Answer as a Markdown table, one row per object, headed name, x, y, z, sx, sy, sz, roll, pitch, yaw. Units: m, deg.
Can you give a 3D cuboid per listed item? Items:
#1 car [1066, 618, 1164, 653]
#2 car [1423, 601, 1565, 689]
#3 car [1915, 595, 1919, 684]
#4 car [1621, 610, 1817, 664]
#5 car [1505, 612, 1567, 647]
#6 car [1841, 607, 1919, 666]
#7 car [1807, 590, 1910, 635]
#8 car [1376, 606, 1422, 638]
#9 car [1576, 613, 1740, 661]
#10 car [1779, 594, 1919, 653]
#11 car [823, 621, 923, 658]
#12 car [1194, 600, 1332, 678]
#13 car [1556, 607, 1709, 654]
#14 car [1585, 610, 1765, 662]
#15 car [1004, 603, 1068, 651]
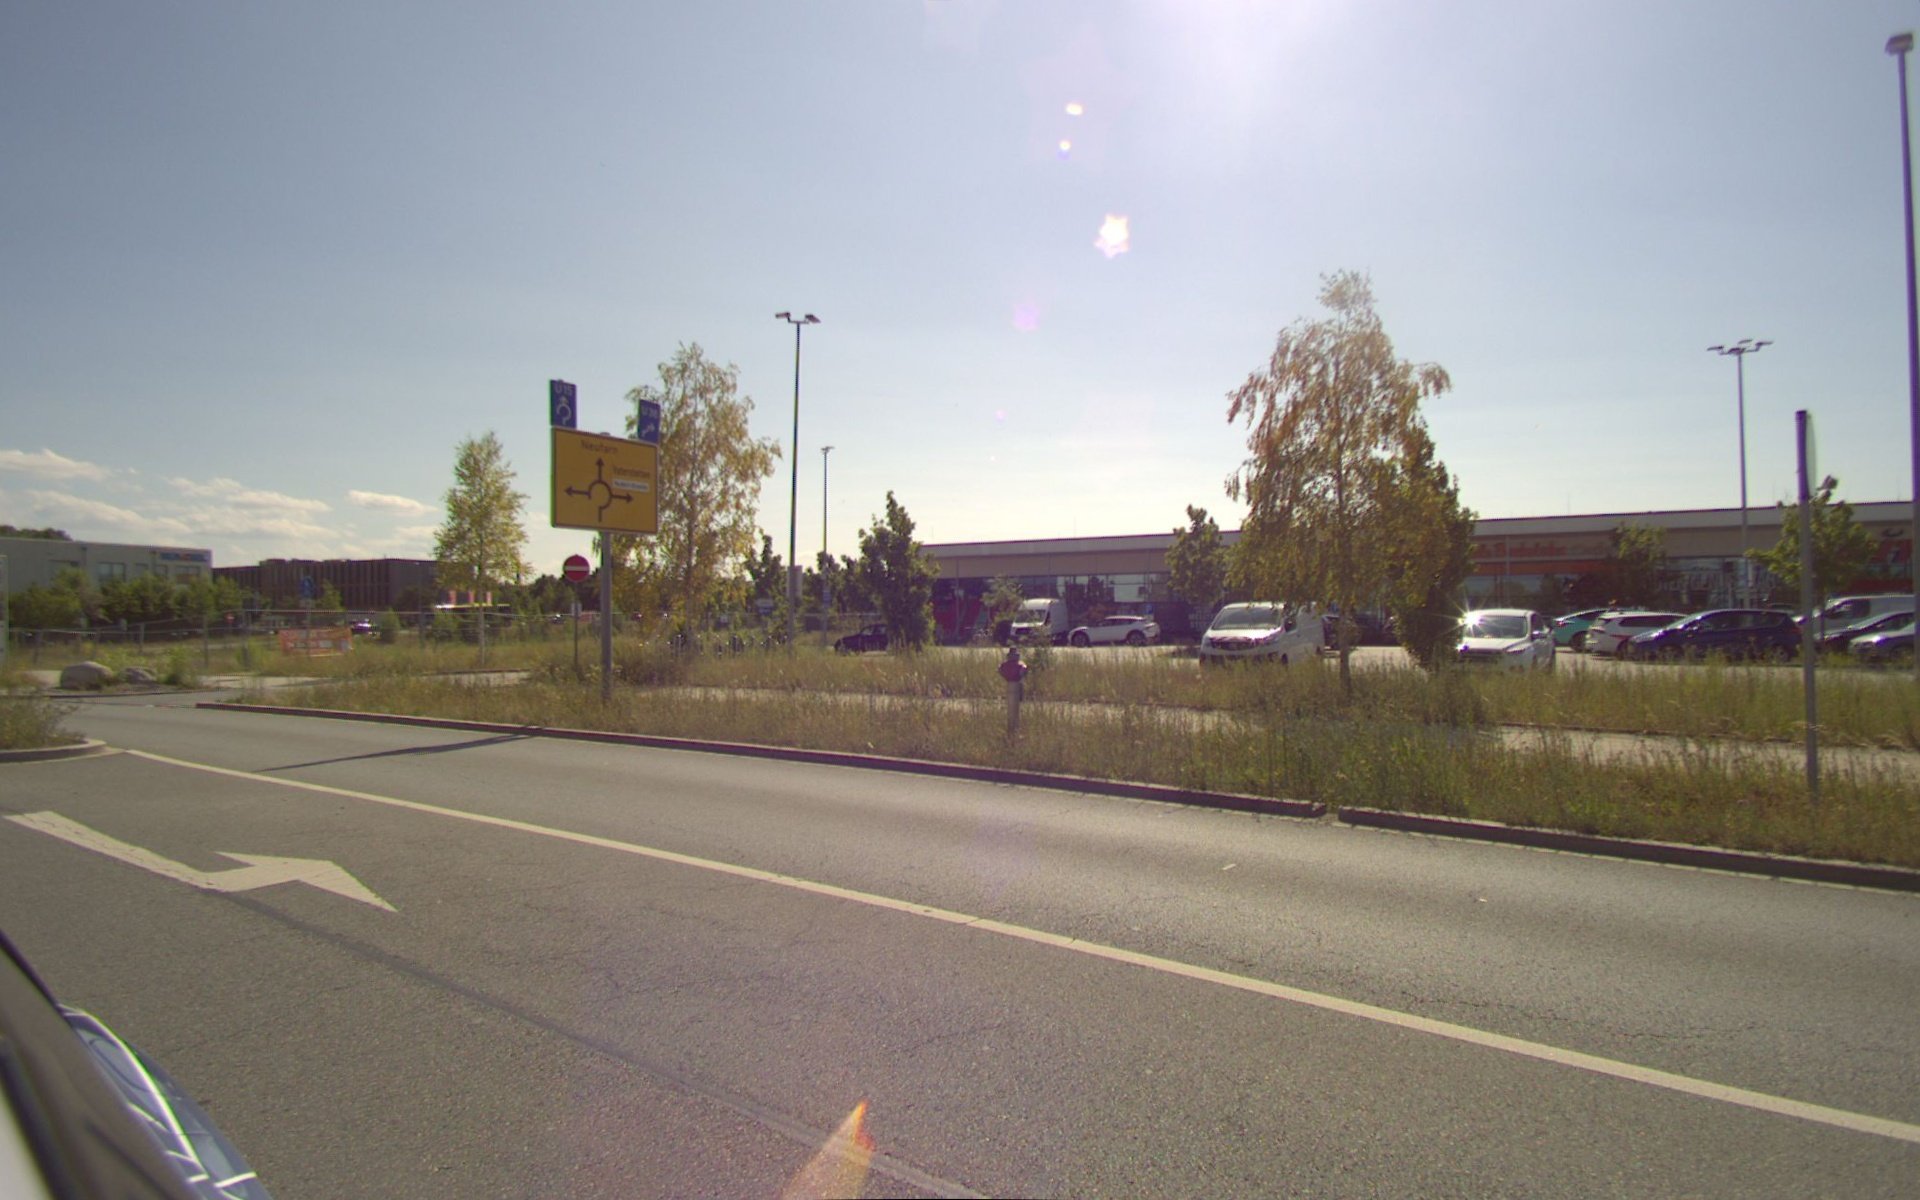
| name | x | y | z | sx | sy | sz | roll | pitch | yaw |
| --- | --- | --- | --- | --- | --- | --- | --- | --- | --- |
| car | 7.815 | 1.784 | 50.999 | 4.550 | 1.701 | 1.959 | -1 | -1 | 26 |
| car | 11.539 | 0.900 | 21.713 | 1.996 | 1.685 | 4.547 | -1 | -1 | 37 |
| car | 17.762 | 0.718 | 17.039 | 1.997 | 1.685 | 4.656 | -1 | -1 | 38 |
| car | 21.267 | 1.025 | 28.579 | 4.117 | 1.436 | 1.703 | -1 | -1 | 25 |
| car | 26.711 | 1.334 | 47.089 | 1.704 | 1.556 | 4.327 | -1 | -1 | 19 |
| car | 26.268 | 0.943 | 26.599 | 4.327 | 1.537 | 1.704 | -1 | -1 | 23 |
| car | 38.301 | 0.530 | 43.287 | 1.704 | 1.821 | 4.327 | -1 | -1 | 19 |
| car | 21.574 | 1.071 | 49.820 | 1.704 | 1.531 | 4.327 | -1 | -1 | 19 |
| car | 23.027 | 1.221 | 33.590 | 4.216 | 1.528 | 1.703 | -1 | -1 | 25 |
| car | 28.578 | 0.727 | 31.448 | 4.561 | 1.754 | 1.701 | -1 | -1 | 28 |
| car | -4.280 | 1.924 | 49.720 | 4.386 | 1.701 | 2.268 | -1 | -1 | 20 |
| car | 7.517 | 0.893 | 24.736 | 1.993 | 1.685 | 5.142 | -1 | -1 | 31 |
| car | 24.124 | 1.095 | 36.498 | 4.330 | 1.599 | 1.703 | -1 | -1 | 25 |
| car | 21.842 | 1.098 | 31.119 | 4.216 | 1.528 | 1.703 | -1 | -1 | 25 |
| car | 4.405 | 1.529 | 57.683 | 1.927 | 2.607 | 5.676 | -1 | -1 | 22 |
